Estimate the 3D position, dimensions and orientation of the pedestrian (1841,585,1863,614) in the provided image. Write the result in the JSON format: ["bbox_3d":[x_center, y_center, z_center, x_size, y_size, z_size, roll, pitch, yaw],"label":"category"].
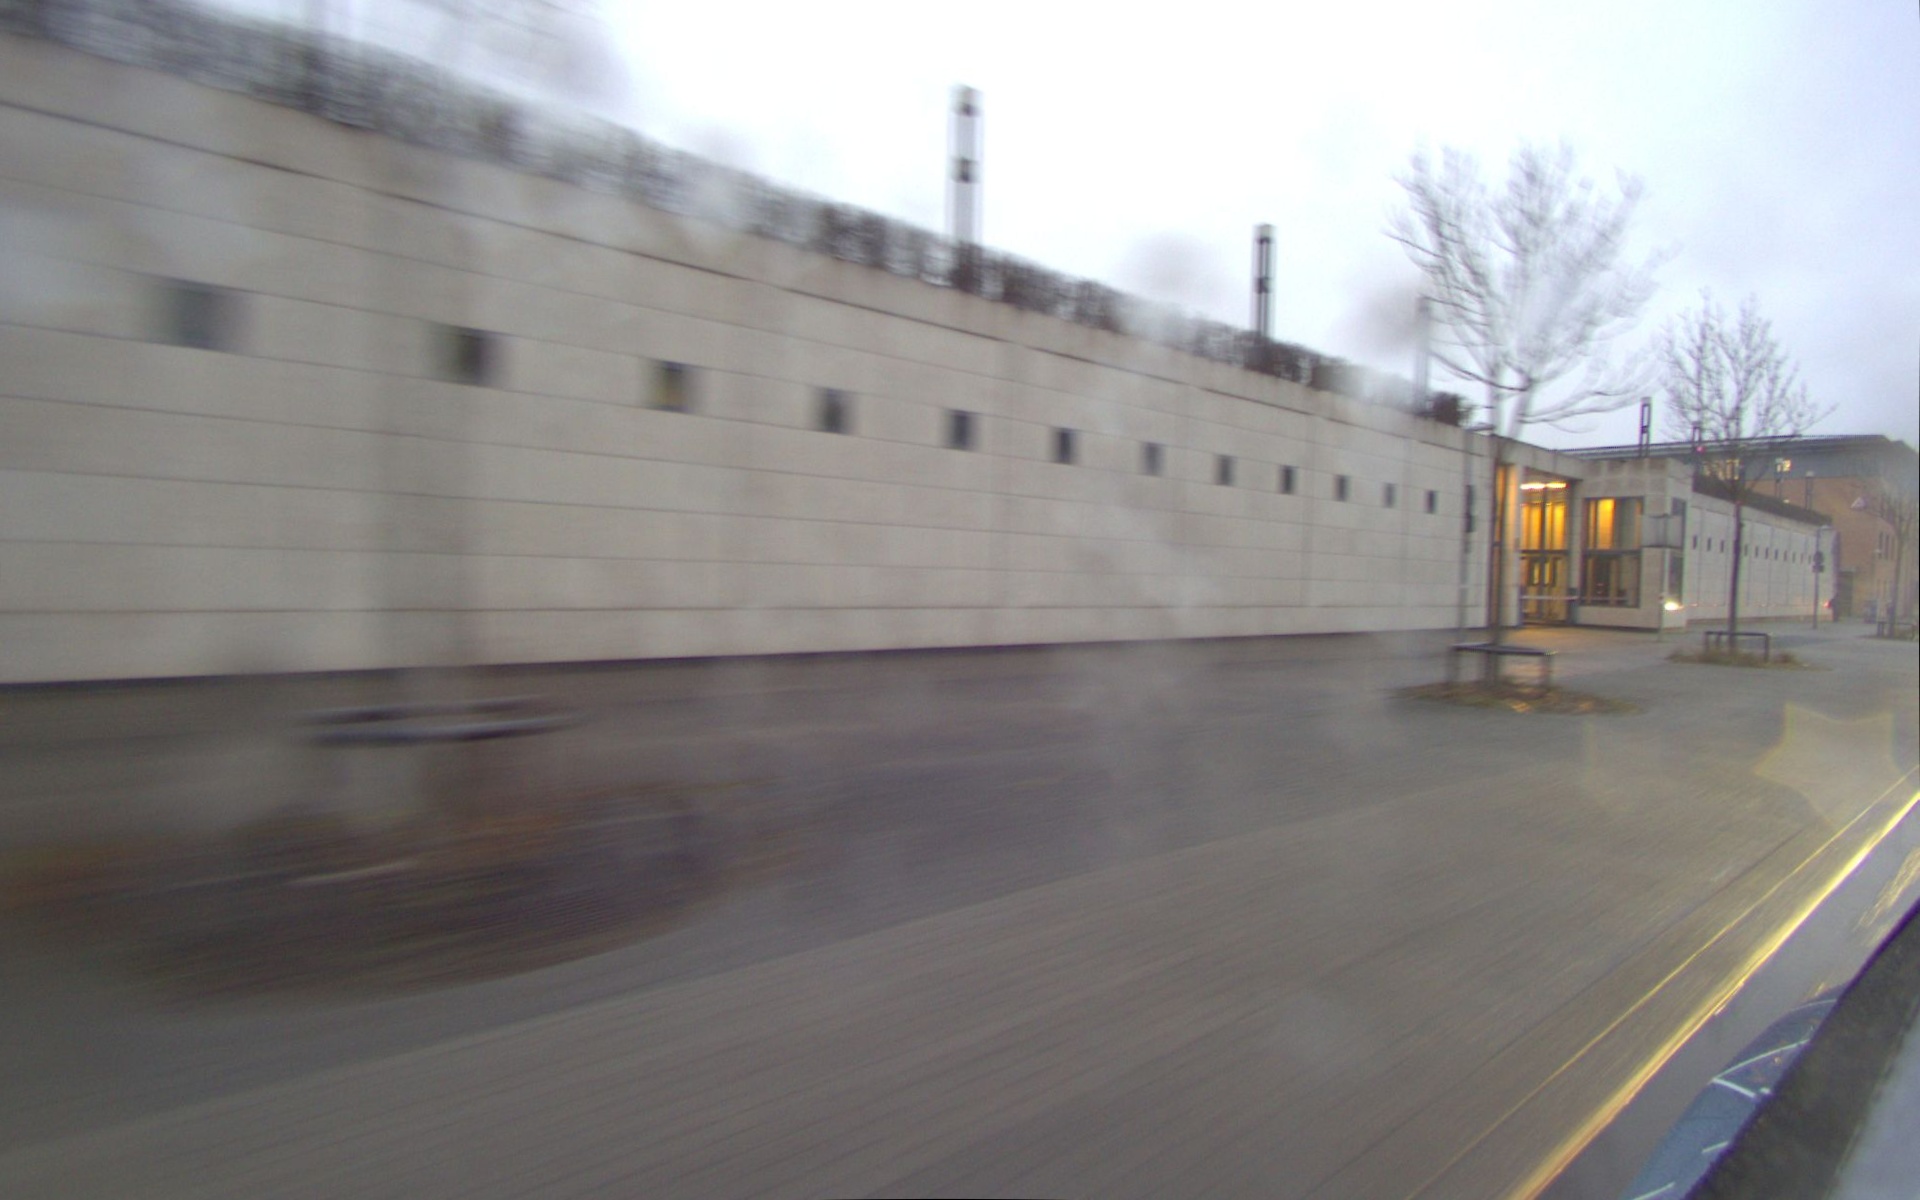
[{"bbox_3d":[52.778,-0.033,59.865,0.868,1.650,0.813,0,3,-41],"label":"pedestrian"}]
